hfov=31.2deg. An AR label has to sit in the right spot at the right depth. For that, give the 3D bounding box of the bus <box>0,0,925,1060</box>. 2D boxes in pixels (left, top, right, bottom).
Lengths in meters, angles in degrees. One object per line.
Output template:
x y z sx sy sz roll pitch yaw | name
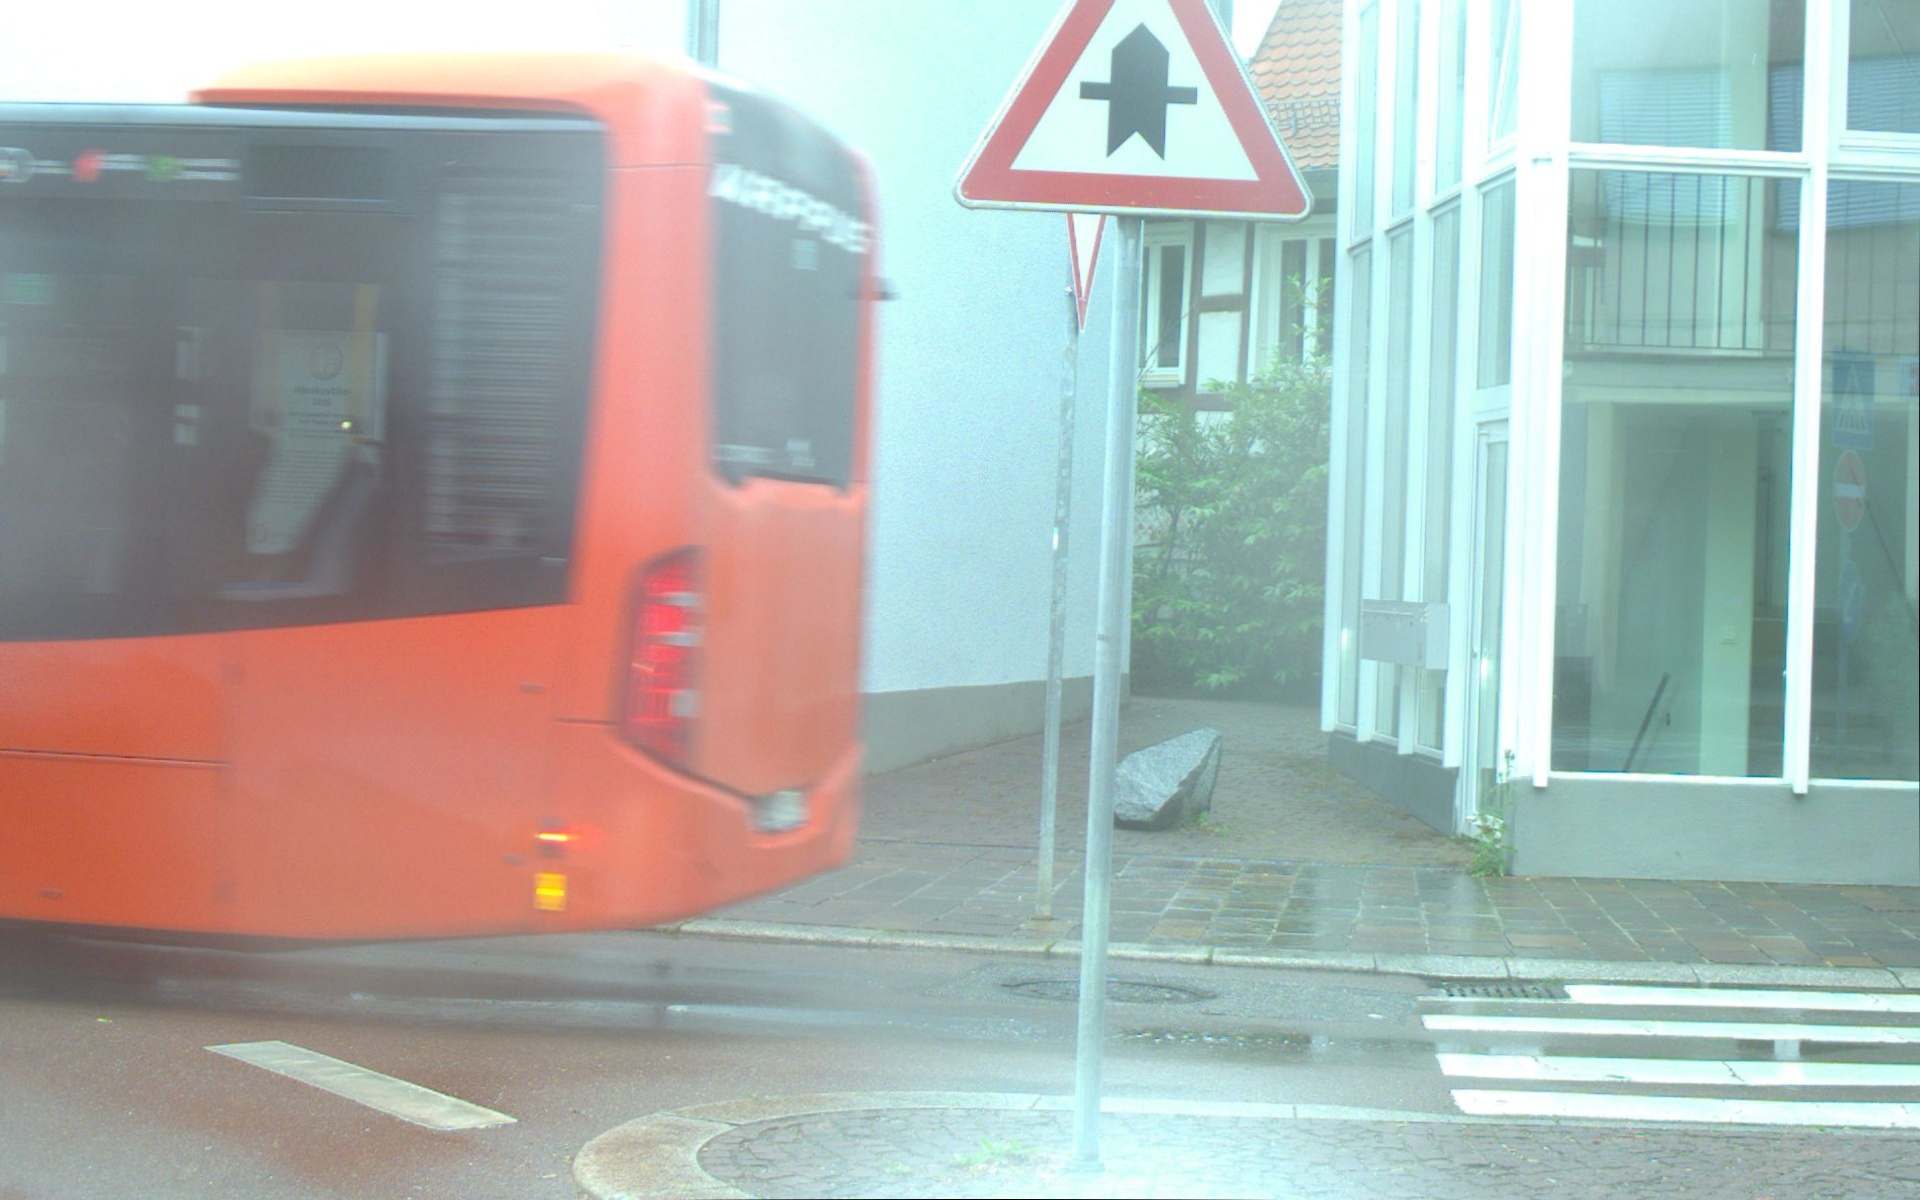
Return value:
-5.633 -0.386 12.374 10.578 3.078 2.820 2 1 12 | bus
